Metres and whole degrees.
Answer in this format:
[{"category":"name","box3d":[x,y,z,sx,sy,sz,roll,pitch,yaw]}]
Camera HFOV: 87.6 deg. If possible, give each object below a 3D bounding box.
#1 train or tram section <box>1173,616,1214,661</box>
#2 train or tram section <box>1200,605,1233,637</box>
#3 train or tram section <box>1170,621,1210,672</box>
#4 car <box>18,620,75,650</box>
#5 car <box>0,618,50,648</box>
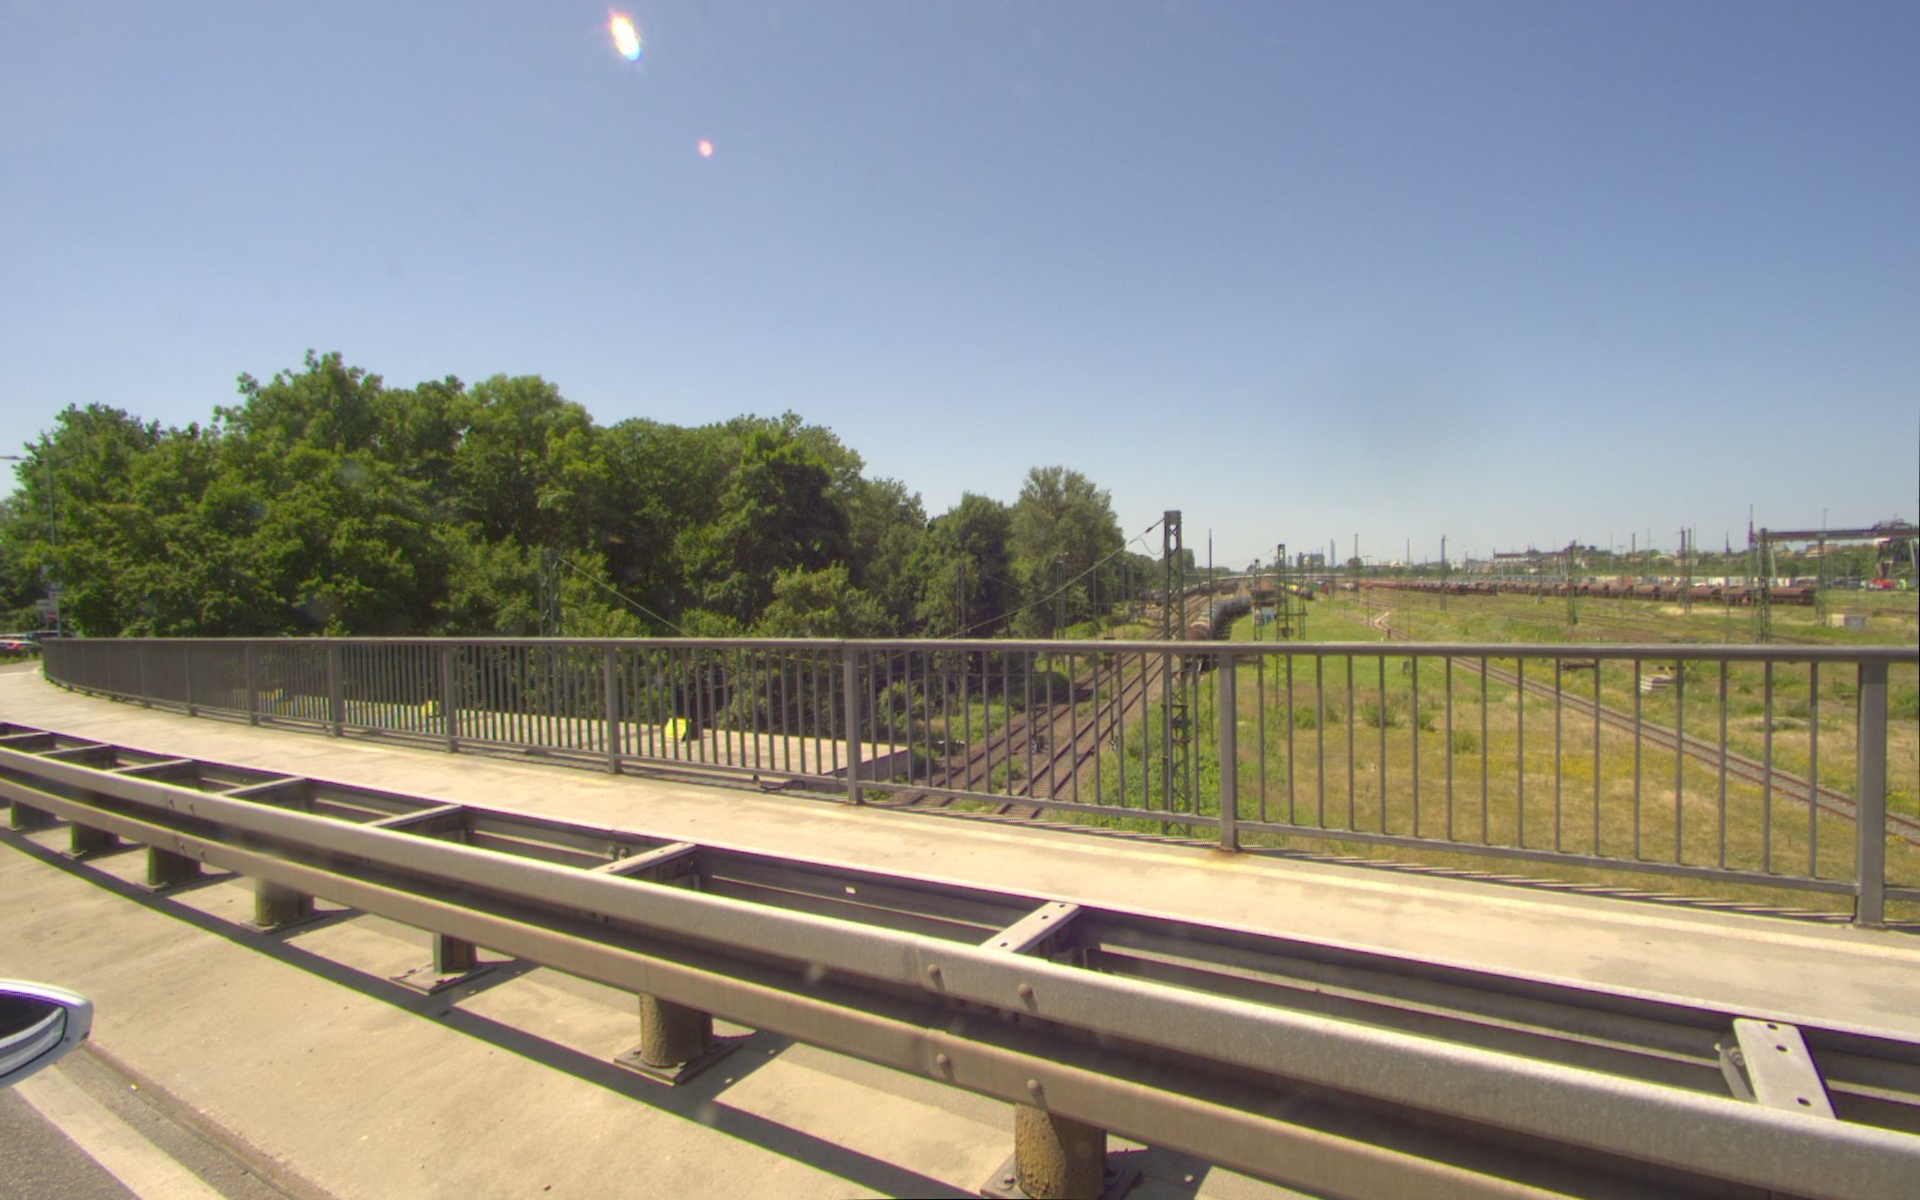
[{"category":"train or tram section","box3d":[28.177,4.451,120.169,3.783,4.366,13.605,-2,1,17]},{"category":"train or tram section","box3d":[40.770,3.233,158.892,3.784,4.366,13.599,-2,1,19]},{"category":"train or tram section","box3d":[24.632,4.842,106.986,3.781,4.366,13.612,-2,1,14]},{"category":"car","box3d":[-56.326,2.132,61.805,1.666,1.783,3.982,0,-2,-29]},{"category":"car","box3d":[-52.913,1.869,56.161,1.972,1.594,3.981,2,-4,-31]}]
